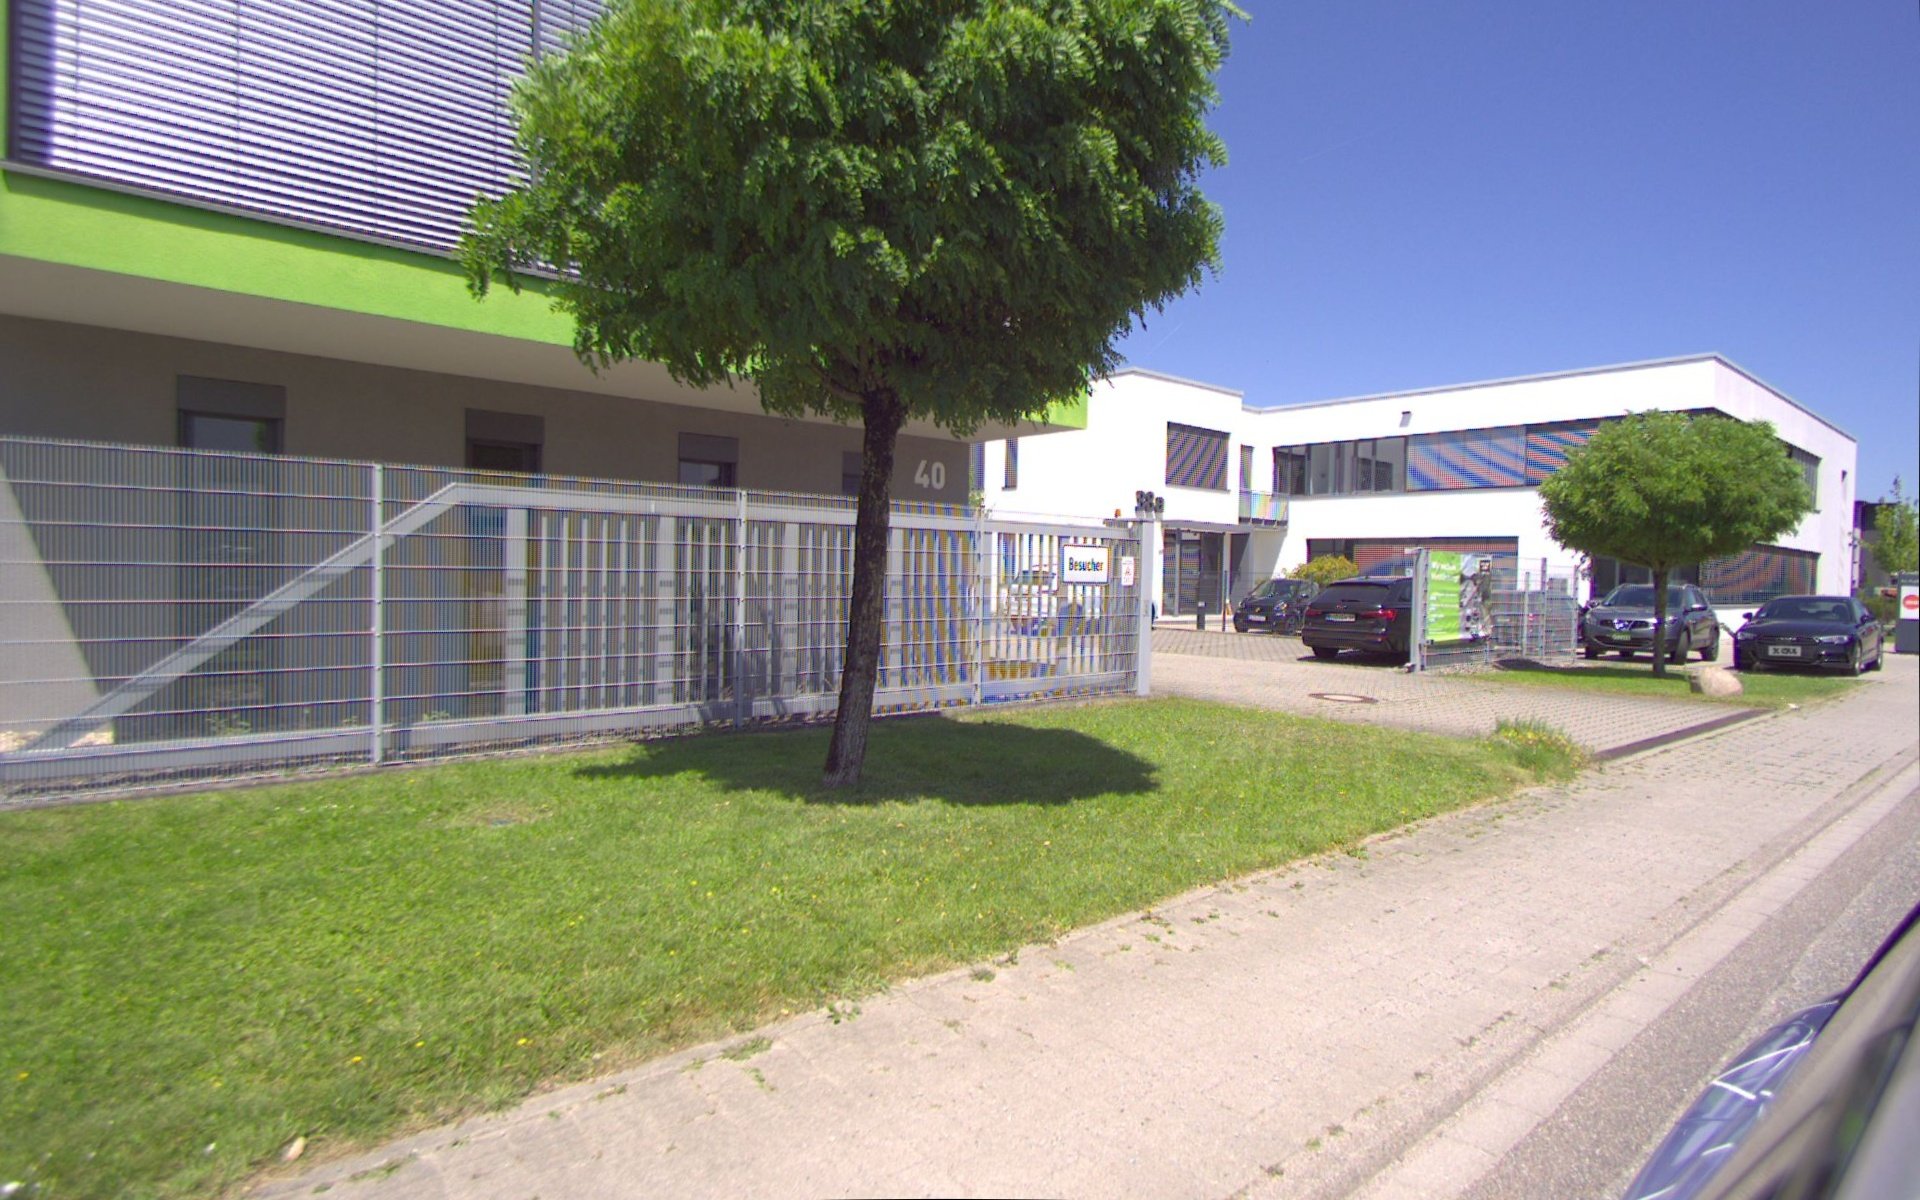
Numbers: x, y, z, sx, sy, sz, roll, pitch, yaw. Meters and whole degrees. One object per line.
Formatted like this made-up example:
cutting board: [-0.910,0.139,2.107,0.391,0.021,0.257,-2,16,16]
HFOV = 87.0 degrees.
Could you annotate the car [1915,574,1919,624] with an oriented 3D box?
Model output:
car: [42.200,0.072,42.875,5.699,2.039,1.997,3,0,-42]

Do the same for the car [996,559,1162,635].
car: [2.912,-0.142,24.307,3.985,1.656,1.742,-2,3,-41]

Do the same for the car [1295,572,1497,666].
car: [7.830,0.250,18.022,3.985,1.415,1.742,-3,3,-41]

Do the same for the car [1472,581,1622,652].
car: [13.394,0.337,23.020,3.951,1.467,1.726,0,1,-40]

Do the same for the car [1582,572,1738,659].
car: [14.687,0.275,21.158,3.951,1.653,1.726,0,1,-40]

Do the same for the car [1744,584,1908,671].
car: [16.287,0.451,18.964,4.171,1.446,1.695,0,1,-40]
